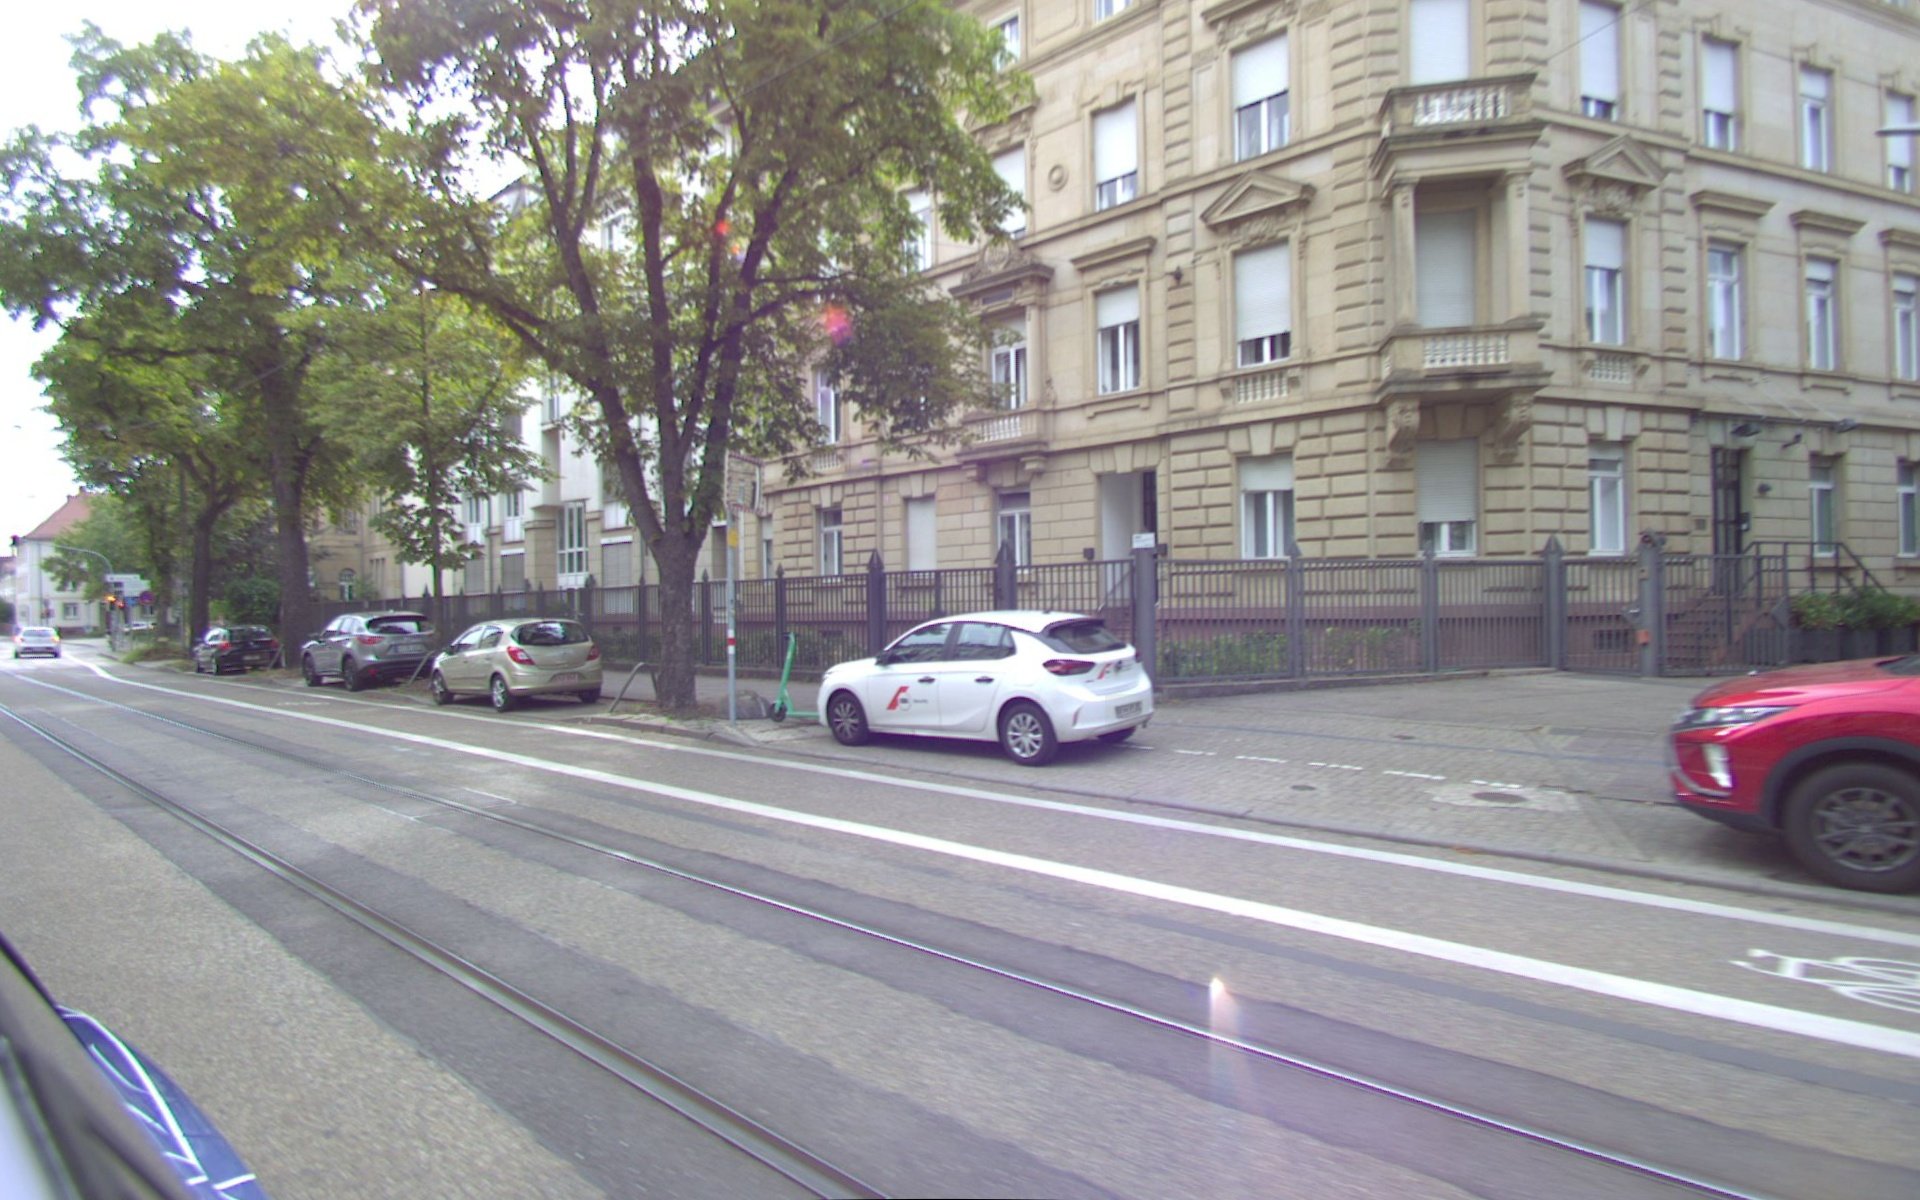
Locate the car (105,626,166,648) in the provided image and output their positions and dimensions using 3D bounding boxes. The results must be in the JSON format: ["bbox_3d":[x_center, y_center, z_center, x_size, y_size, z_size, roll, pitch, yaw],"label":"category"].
[{"bbox_3d":[-80.445,3.616,98.782,4.129,1.878,1.858,-2,0,-13],"label":"car"}]

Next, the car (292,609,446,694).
[{"bbox_3d":[-13.278,1.100,22.634,4.356,1.686,1.692,-2,0,42],"label":"car"}]

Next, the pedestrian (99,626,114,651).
[{"bbox_3d":[-58.030,2.603,68.788,0.711,1.703,0.646,-2,-1,38],"label":"pedestrian"}]

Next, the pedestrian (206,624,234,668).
[{"bbox_3d":[-30.136,1.868,41.229,0.700,1.748,0.698,-2,0,38],"label":"pedestrian"}]

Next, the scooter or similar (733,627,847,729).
[{"bbox_3d":[-2.164,0.984,12.901,1.313,1.232,0.559,-2,0,19],"label":"scooter or similar"}]

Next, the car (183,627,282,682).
[{"bbox_3d":[-22.248,1.610,30.893,4.167,1.435,1.701,-2,2,44],"label":"car"}]

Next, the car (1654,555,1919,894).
[{"bbox_3d":[6.241,0.575,4.916,4.540,1.667,1.703,-2,2,41],"label":"car"}]

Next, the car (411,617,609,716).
[{"bbox_3d":[-7.884,1.092,17.559,4.078,1.479,1.584,-2,0,42],"label":"car"}]

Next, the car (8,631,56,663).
[{"bbox_3d":[-44.151,2.213,48.120,1.552,1.427,4.003,2,-3,-44],"label":"car"}]

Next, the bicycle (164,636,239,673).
[{"bbox_3d":[-27.712,1.977,37.007,0.826,1.184,2.230,-2,0,9],"label":"bicycle"}]

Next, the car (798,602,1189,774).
[{"bbox_3d":[0.230,0.827,10.932,4.021,1.434,1.703,-2,2,41],"label":"car"}]
